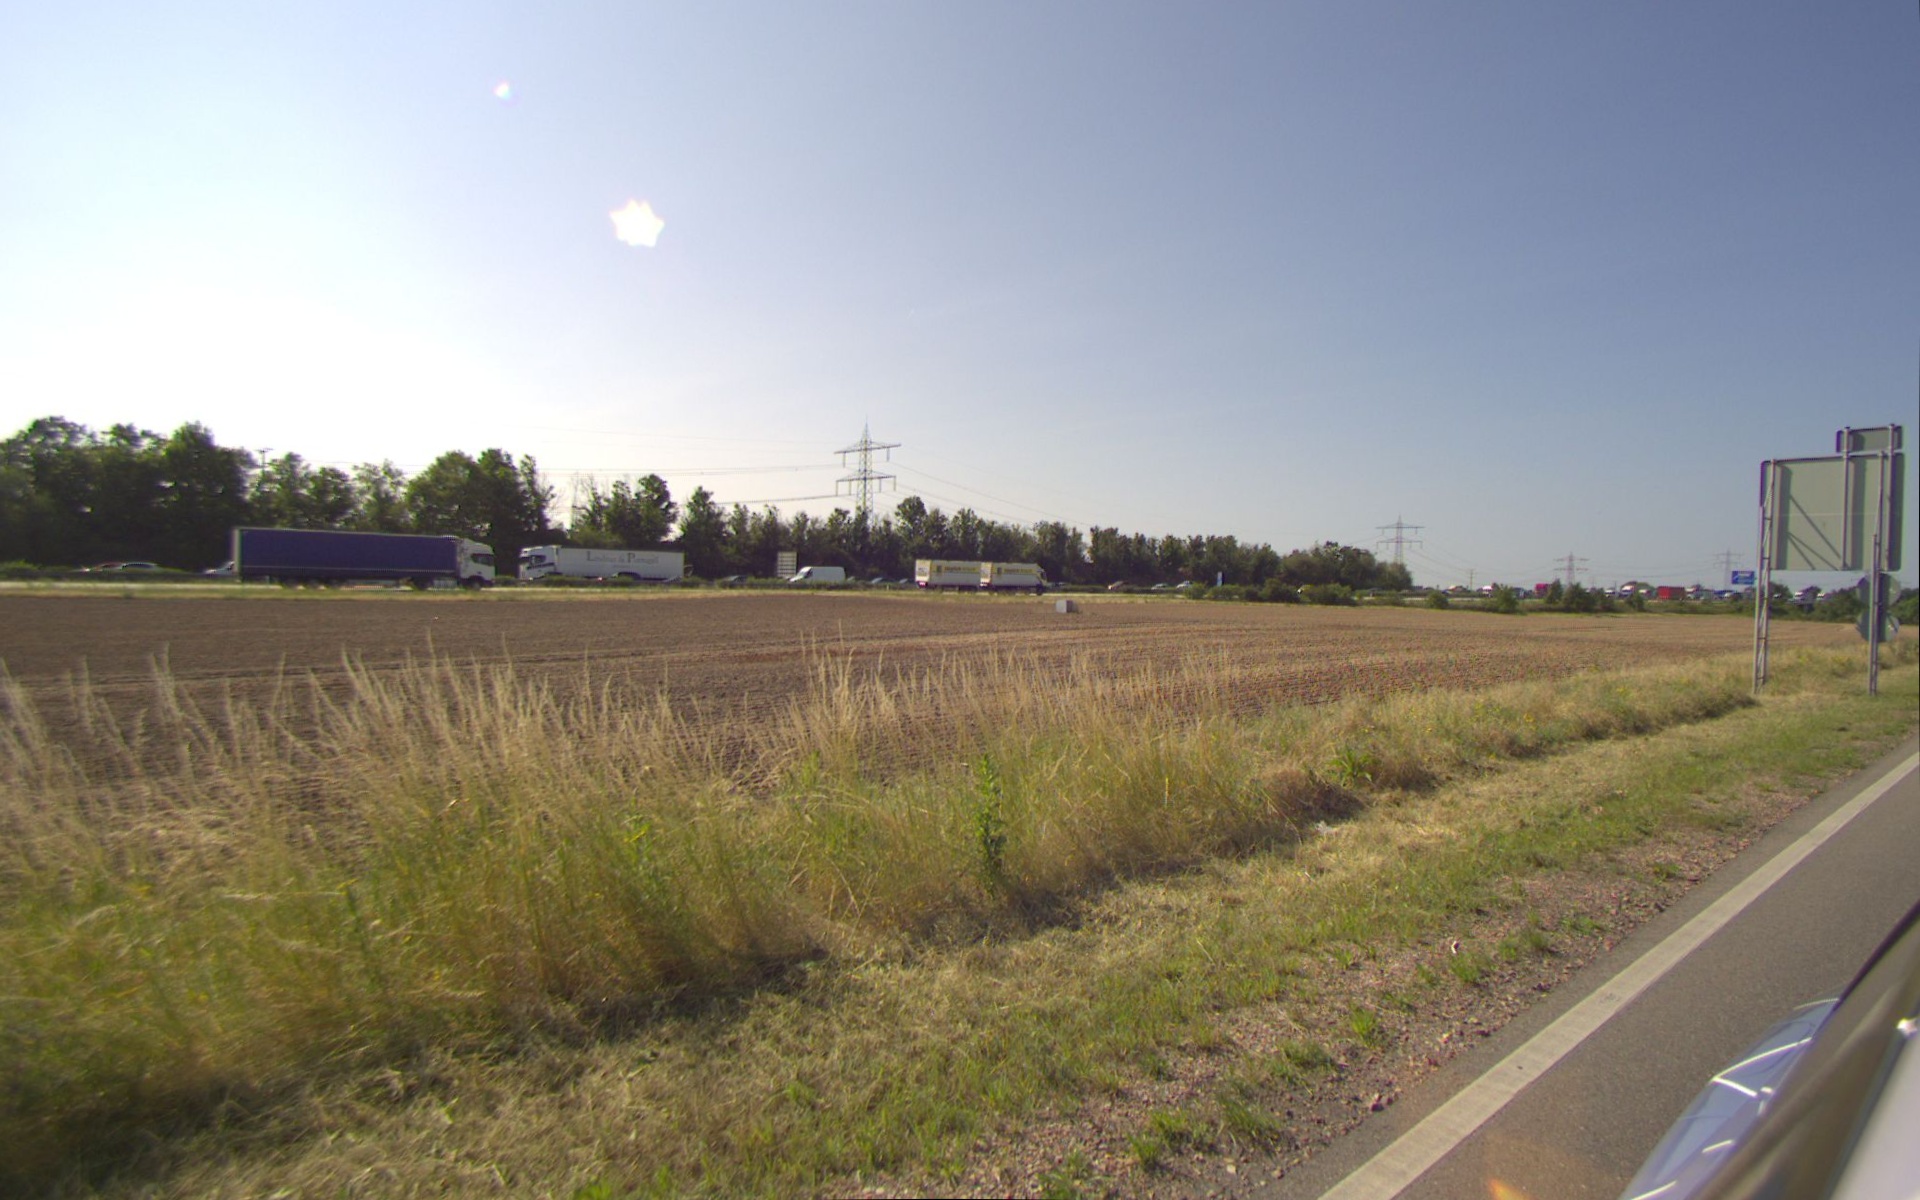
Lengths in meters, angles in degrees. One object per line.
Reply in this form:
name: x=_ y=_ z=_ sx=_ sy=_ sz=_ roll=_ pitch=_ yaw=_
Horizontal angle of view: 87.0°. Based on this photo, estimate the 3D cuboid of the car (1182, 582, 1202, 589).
car: x=38.476 y=-2.351 z=167.956 sx=3.795 sy=1.139 sz=1.342 roll=0 pitch=1 yaw=-41

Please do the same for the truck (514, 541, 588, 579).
truck: x=-40.132 y=-3.920 z=99.459 sx=6.004 sy=3.575 sz=3.208 roll=0 pitch=2 yaw=-42

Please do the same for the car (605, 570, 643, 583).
car: x=-32.405 y=-2.280 z=97.728 sx=3.237 sy=1.234 sz=1.342 roll=0 pitch=1 yaw=-44

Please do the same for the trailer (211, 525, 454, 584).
trailer: x=-44.030 y=-3.057 z=71.739 sx=14.347 sy=3.850 sz=3.075 roll=-1 pitch=1 yaw=-43

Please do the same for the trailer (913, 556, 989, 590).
trailer: x=-0.940 y=-2.891 z=110.228 sx=8.568 sy=3.458 sz=2.797 roll=0 pitch=1 yaw=-42

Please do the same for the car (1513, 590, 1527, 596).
car: x=115.926 y=-1.430 z=209.504 sx=3.488 sy=1.279 sz=1.581 roll=0 pitch=0 yaw=-41

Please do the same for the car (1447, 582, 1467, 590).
car: x=114.199 y=-3.163 z=232.682 sx=5.508 sy=1.702 sz=2.054 roll=0 pitch=0 yaw=-40

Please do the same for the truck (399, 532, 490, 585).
truck: x=-38.923 y=-3.065 z=76.496 sx=5.517 sy=3.850 sz=3.075 roll=-1 pitch=1 yaw=-43

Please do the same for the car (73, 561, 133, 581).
car: x=-61.906 y=-2.071 z=73.098 sx=3.237 sy=1.300 sz=1.341 roll=0 pitch=0 yaw=-44

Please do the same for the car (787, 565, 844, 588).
car: x=-16.293 y=-2.638 z=114.154 sx=6.301 sy=2.478 sz=2.041 roll=0 pitch=0 yaw=-41

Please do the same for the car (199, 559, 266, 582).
car: x=-55.815 y=-2.265 z=77.651 sx=4.024 sy=1.659 sz=1.705 roll=0 pitch=0 yaw=-42

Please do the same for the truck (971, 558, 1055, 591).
truck: x=6.257 y=-2.881 z=116.765 sx=10.930 sy=3.521 sz=2.810 roll=0 pitch=1 yaw=-42

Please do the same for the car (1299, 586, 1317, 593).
car: x=62.802 y=-1.820 z=182.618 sx=3.533 sy=1.243 sz=1.484 roll=0 pitch=0 yaw=-41

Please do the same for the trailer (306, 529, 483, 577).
trailer: x=-50.428 y=-4.090 z=90.802 sx=13.543 sy=3.780 sz=2.950 roll=0 pitch=1 yaw=-42

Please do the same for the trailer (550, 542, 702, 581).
trailer: x=-34.312 y=-3.900 z=104.795 sx=14.824 sy=3.575 sz=3.208 roll=0 pitch=2 yaw=-42
